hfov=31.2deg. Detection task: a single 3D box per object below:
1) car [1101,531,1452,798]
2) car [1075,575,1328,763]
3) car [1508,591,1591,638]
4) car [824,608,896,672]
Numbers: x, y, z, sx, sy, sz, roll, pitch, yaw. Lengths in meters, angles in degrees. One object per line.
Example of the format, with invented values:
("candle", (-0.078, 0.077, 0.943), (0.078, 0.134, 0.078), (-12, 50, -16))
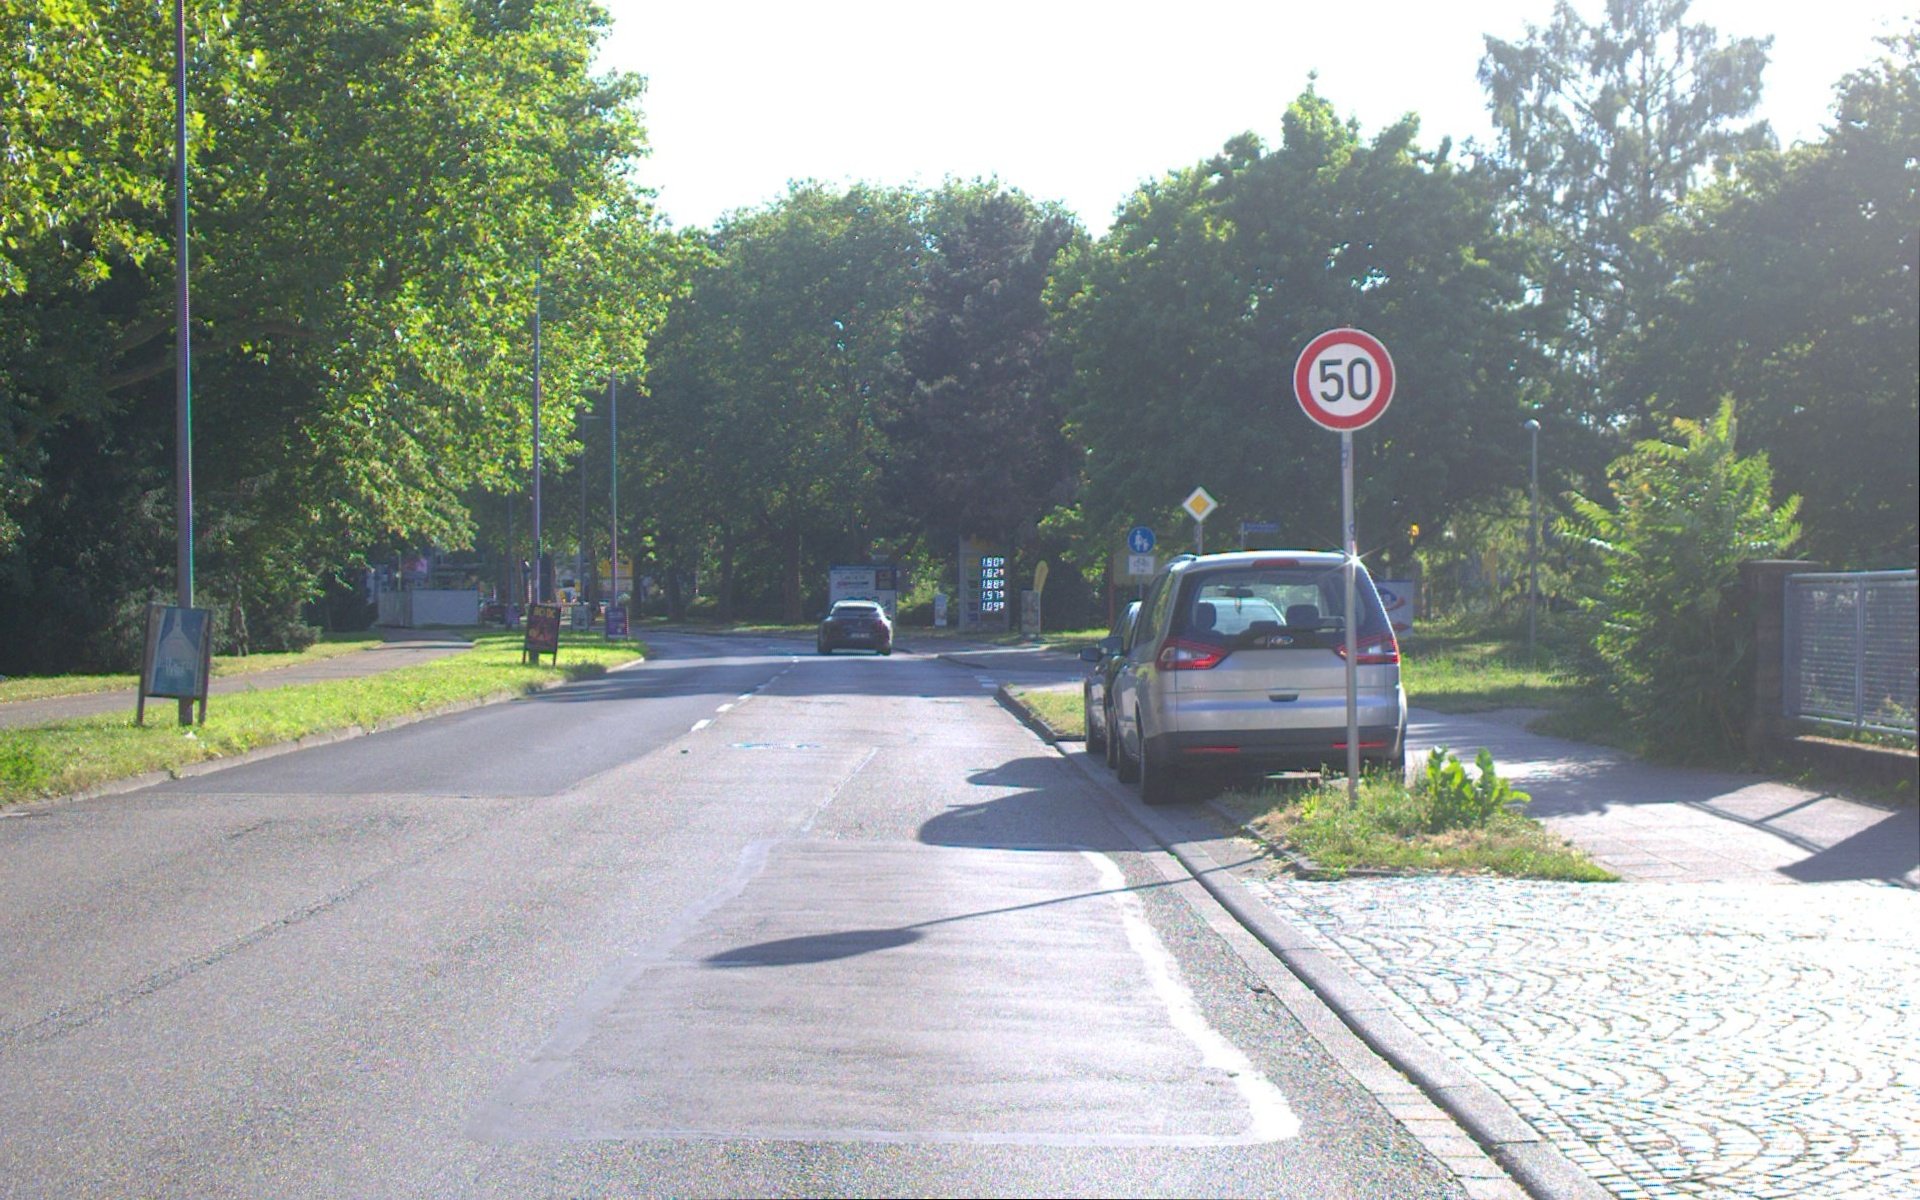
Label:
("car", (2.200, 0.421, 25.258), (1.993, 1.753, 4.917), (-1, 0, -1))
("car", (2.059, 0.558, 30.560), (1.782, 1.510, 4.690), (-1, 0, -1))
("car", (22.619, 0.538, 131.989), (1.812, 1.722, 4.399), (2, 0, -8))
("car", (-2.636, 1.044, 91.497), (1.839, 1.600, 3.863), (-1, 0, -1))
